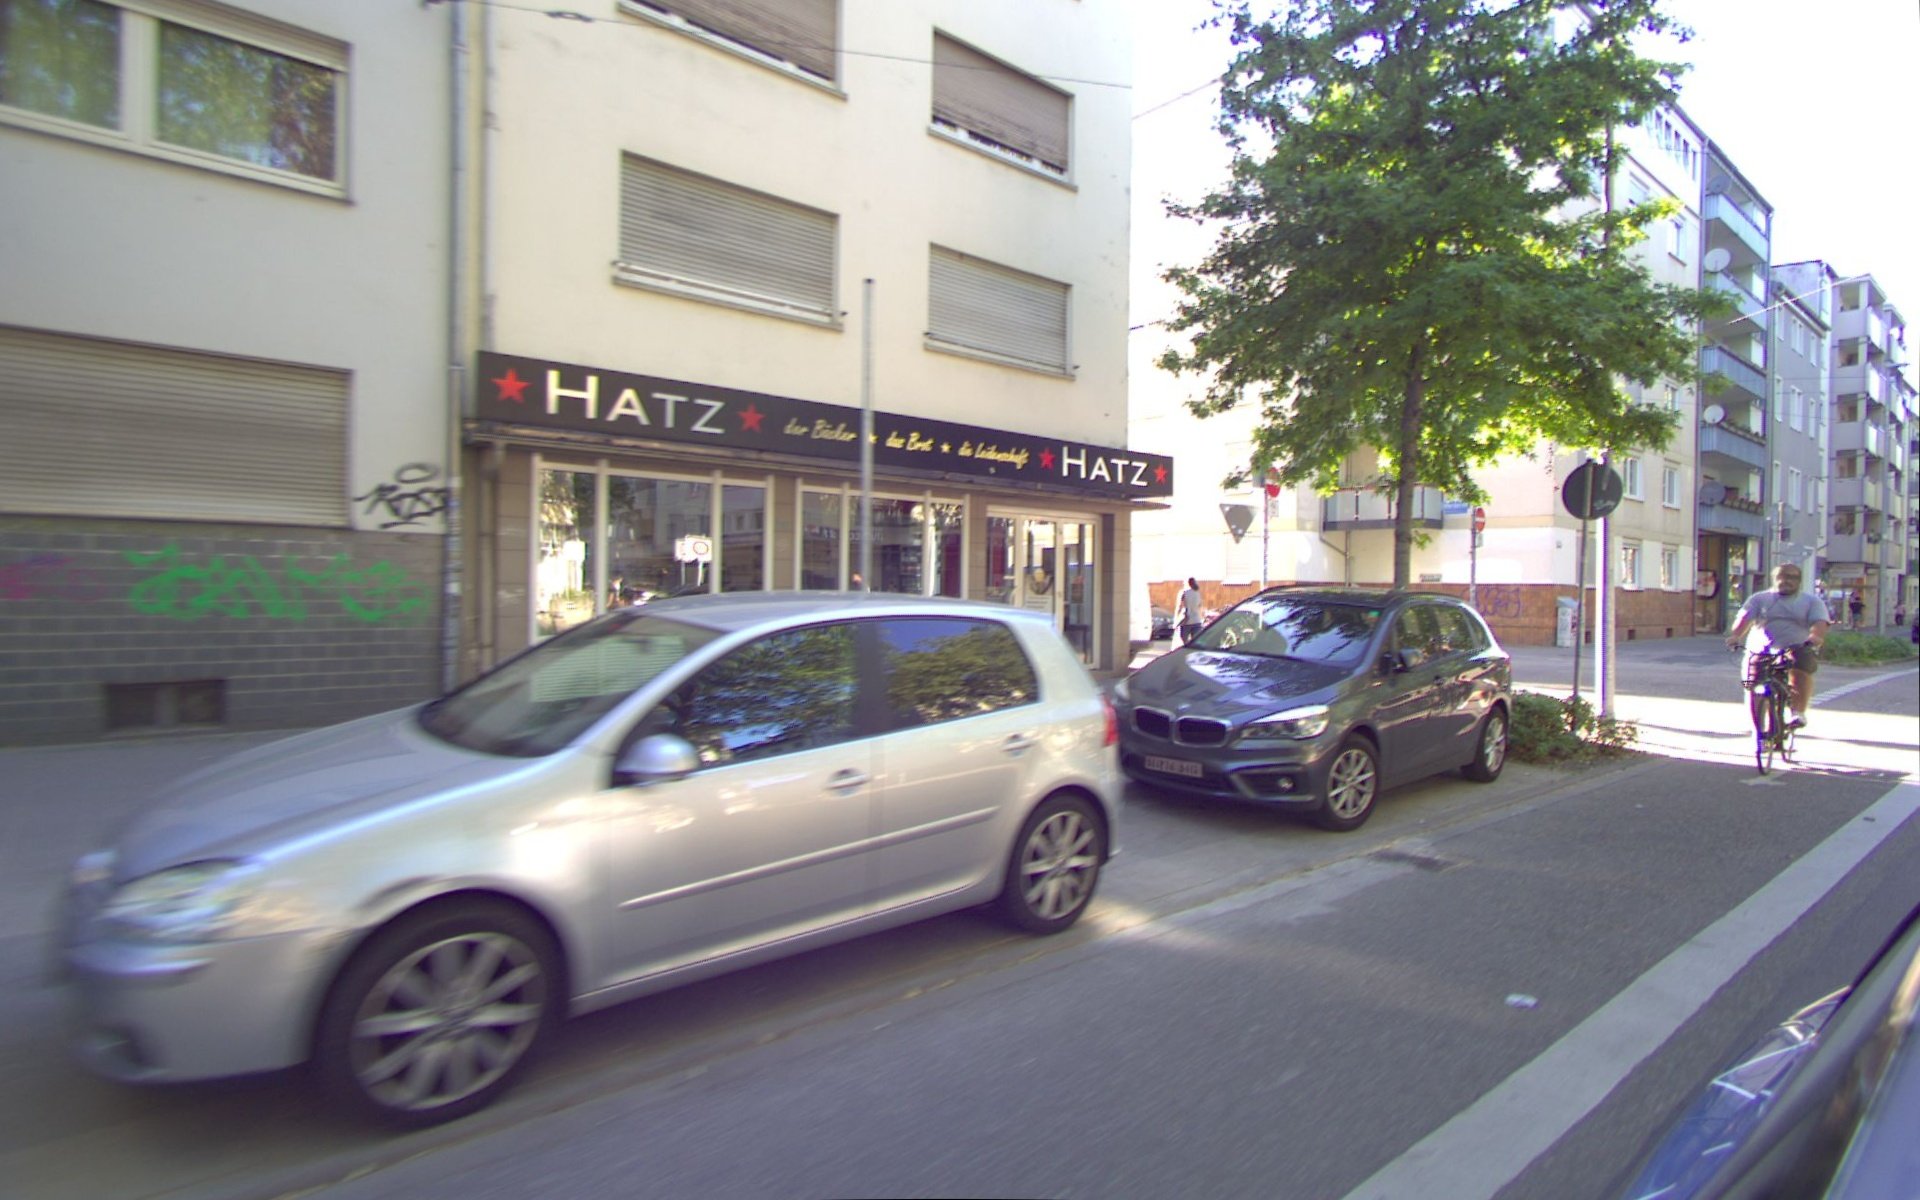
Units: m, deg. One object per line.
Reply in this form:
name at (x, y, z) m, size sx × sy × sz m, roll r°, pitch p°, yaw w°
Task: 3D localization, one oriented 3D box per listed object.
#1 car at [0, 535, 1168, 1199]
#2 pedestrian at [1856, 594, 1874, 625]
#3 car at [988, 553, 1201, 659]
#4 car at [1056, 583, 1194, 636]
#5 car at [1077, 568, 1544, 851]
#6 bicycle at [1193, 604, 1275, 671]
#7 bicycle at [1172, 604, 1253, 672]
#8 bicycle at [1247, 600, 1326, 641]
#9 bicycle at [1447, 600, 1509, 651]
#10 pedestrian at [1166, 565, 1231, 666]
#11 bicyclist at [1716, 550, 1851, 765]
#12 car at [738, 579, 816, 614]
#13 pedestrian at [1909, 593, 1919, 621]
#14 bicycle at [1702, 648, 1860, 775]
car at (-1.143, 0.615, 4.198) m, size 4.055 × 1.556 × 1.790 m, roll 0°, pitch 3°, yaw -41°
pedestrian at (45.130, 0.458, 50.447) m, size 0.589 × 1.521 × 0.590 m, roll 0°, pitch 0°, yaw -40°
car at (2.468, 0.087, 19.388) m, size 1.753 × 1.820 × 3.998 m, roll 0°, pitch 0°, yaw -37°
car at (4.974, 0.240, 30.908) m, size 1.695 × 1.527 × 3.993 m, roll 0°, pitch 1°, yaw -42°
car at (2.948, 0.604, 7.971) m, size 4.189 × 1.590 × 1.722 m, roll -1°, pitch 4°, yaw -44°
bicycle at (5.344, 0.708, 19.874) m, size 0.471 × 1.222 × 2.078 m, roll 0°, pitch 0°, yaw -19°
bicycle at (4.886, 0.711, 19.722) m, size 0.471 × 1.222 × 2.078 m, roll 0°, pitch 0°, yaw -19°
bicycle at (8.949, 0.539, 27.810) m, size 0.596 × 1.004 × 2.111 m, roll 0°, pitch 2°, yaw -36°
bicycle at (12.440, 0.592, 24.295) m, size 1.961 × 1.166 × 0.615 m, roll 0°, pitch 1°, yaw -41°
pedestrian at (4.152, 0.266, 17.622) m, size 0.757 × 1.706 × 0.705 m, roll 2°, pitch 1°, yaw -33°
bicyclist at (7.619, 0.489, 9.362) m, size 1.079 × 1.854 × 0.768 m, roll 0°, pitch 0°, yaw -40°
car at (-8.426, -0.172, 46.329) m, size 1.695 × 1.527 × 3.993 m, roll 0°, pitch 1°, yaw -42°
pedestrian at (58.089, 0.417, 61.410) m, size 0.666 × 1.716 × 0.696 m, roll 0°, pitch 0°, yaw -40°
bicycle at (7.594, 0.974, 9.335) m, size 1.905 × 0.949 × 0.790 m, roll 0°, pitch 0°, yaw -40°
